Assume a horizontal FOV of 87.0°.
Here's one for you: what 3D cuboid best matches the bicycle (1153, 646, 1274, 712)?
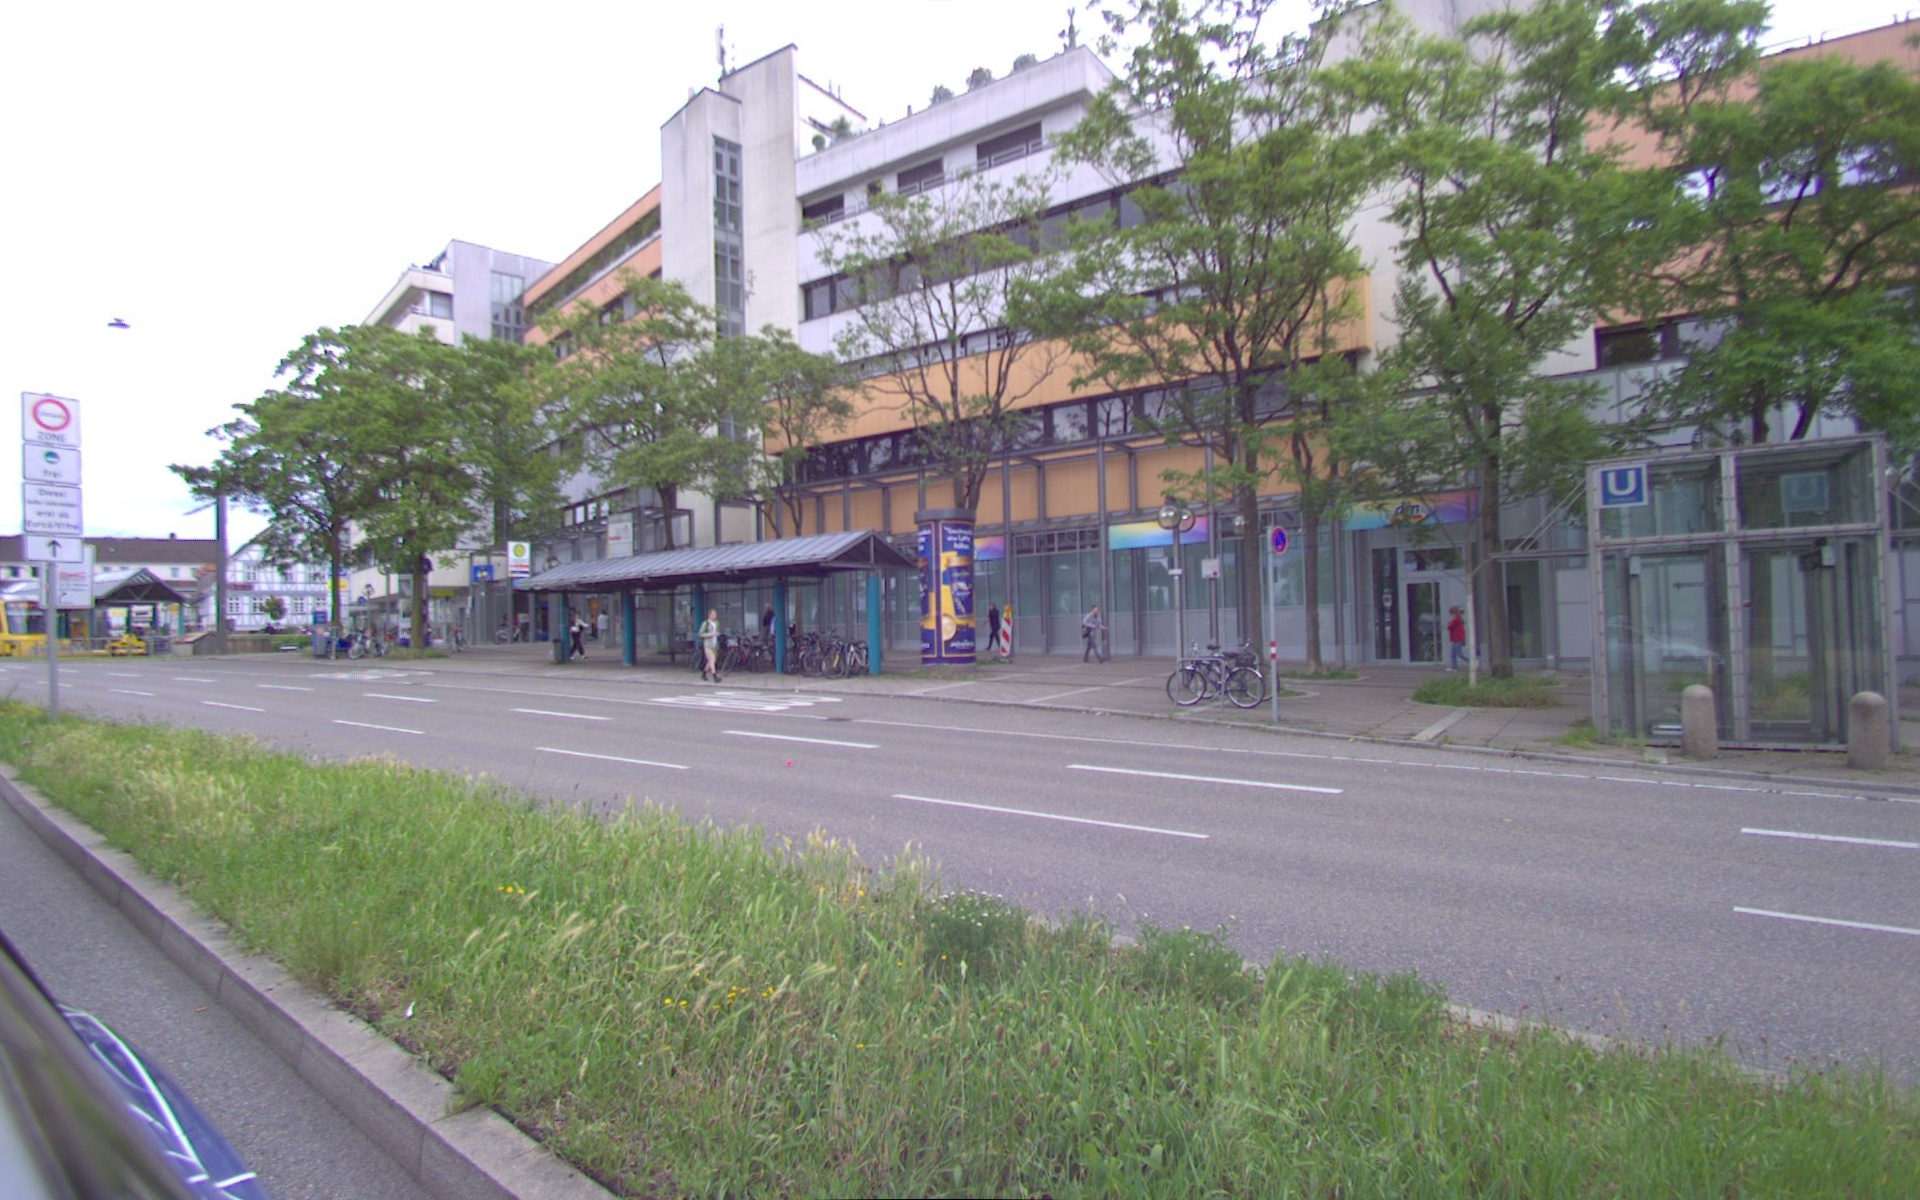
[{"bbox_3d":[4.453,1.361,17.806,1.926,1.092,0.825,-2,-2,27],"label":"bicycle"}]

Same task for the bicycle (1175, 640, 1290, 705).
[{"bbox_3d":[5.041,1.323,18.741,1.946,1.145,0.709,-2,-2,26],"label":"bicycle"}]

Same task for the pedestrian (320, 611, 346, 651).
[{"bbox_3d":[-30.090,1.506,48.554,0.871,1.891,0.738,-2,-2,32],"label":"pedestrian"}]

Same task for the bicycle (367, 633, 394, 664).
[{"bbox_3d":[-22.789,1.911,39.824,0.594,1.170,1.695,0,-2,-19],"label":"bicycle"}]

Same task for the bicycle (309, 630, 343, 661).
[{"bbox_3d":[-25.018,1.782,39.954,0.594,1.170,1.971,-2,0,-17],"label":"bicycle"}]

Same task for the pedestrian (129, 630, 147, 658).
[{"bbox_3d":[-45.800,2.451,56.390,0.618,1.585,0.594,-2,-2,30],"label":"pedestrian"}]

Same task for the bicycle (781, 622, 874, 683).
[{"bbox_3d":[-3.442,1.344,26.608,0.776,1.518,2.876,-2,-2,32],"label":"bicycle"}]

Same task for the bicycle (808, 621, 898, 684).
[{"bbox_3d":[-2.718,1.319,26.168,0.698,1.518,2.876,-2,-2,32],"label":"bicycle"}]

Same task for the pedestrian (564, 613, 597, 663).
[{"bbox_3d":[-13.417,1.325,35.806,0.705,1.725,0.768,-2,0,35],"label":"pedestrian"}]

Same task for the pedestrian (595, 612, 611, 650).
[{"bbox_3d":[-15.458,1.328,43.836,0.623,1.612,0.624,-2,0,-19],"label":"pedestrian"}]

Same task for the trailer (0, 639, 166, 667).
[{"bbox_3d":[-46.780,2.819,53.710,12.072,1.343,2.822,-2,-2,29],"label":"trailer"}]

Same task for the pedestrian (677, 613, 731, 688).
[{"bbox_3d":[-6.476,1.250,25.604,1.212,1.836,0.697,-1,0,37],"label":"pedestrian"}]

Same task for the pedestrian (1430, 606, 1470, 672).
[{"bbox_3d":[12.140,0.971,25.078,0.822,1.598,0.629,-1,-2,31],"label":"pedestrian"}]

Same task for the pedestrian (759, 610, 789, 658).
[{"bbox_3d":[-6.415,1.163,34.914,0.705,1.595,0.660,-2,0,35],"label":"pedestrian"}]

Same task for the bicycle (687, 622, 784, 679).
[{"bbox_3d":[-6.204,1.370,28.144,0.888,1.518,2.876,-2,-2,32],"label":"bicycle"}]

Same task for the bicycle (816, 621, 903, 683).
[{"bbox_3d":[-2.542,1.307,26.059,0.597,1.518,2.876,-2,-2,32],"label":"bicycle"}]

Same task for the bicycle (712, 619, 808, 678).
[{"bbox_3d":[-5.426,1.288,27.669,0.809,1.518,2.876,-2,-2,33],"label":"bicycle"}]

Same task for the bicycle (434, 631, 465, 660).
[{"bbox_3d":[-21.465,1.909,42.581,0.663,1.170,2.023,-1,-2,-11],"label":"bicycle"}]

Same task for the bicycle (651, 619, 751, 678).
[{"bbox_3d":[-7.347,1.352,28.931,0.969,1.518,2.877,-2,0,32],"label":"bicycle"}]

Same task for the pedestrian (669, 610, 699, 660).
[{"bbox_3d":[-9.835,1.251,36.067,0.763,1.729,0.789,-2,0,-32],"label":"pedestrian"}]

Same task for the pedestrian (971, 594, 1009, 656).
[{"bbox_3d":[0.989,0.827,33.633,0.932,2.029,0.888,-1,-2,35],"label":"pedestrian"}]

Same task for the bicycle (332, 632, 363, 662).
[{"bbox_3d":[-24.143,1.850,39.910,0.594,1.170,1.971,0,-2,-18],"label":"bicycle"}]

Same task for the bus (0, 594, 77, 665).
[{"bbox_3d":[-60.436,1.942,61.525,19.255,3.889,3.851,-2,-2,29],"label":"bus"}]

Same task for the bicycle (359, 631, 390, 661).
[{"bbox_3d":[-23.704,1.864,40.977,1.966,1.170,0.596,-3,-3,44],"label":"bicycle"}]

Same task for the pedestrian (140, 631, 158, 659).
[{"bbox_3d":[-46.047,2.551,57.439,0.618,1.585,0.594,-2,-2,30],"label":"pedestrian"}]

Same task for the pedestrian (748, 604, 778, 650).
[{"bbox_3d":[-7.603,1.037,39.022,0.787,1.729,0.764,-2,0,33],"label":"pedestrian"}]

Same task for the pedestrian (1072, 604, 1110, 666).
[{"bbox_3d":[3.716,0.987,28.763,0.787,1.729,0.764,-2,0,32],"label":"pedestrian"}]

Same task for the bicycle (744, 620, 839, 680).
[{"bbox_3d":[-4.446,1.289,27.018,0.803,1.518,2.876,-2,-2,32],"label":"bicycle"}]

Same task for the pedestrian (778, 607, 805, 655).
[{"bbox_3d":[-5.884,1.078,35.367,0.621,1.612,0.627,-2,0,35],"label":"pedestrian"}]
